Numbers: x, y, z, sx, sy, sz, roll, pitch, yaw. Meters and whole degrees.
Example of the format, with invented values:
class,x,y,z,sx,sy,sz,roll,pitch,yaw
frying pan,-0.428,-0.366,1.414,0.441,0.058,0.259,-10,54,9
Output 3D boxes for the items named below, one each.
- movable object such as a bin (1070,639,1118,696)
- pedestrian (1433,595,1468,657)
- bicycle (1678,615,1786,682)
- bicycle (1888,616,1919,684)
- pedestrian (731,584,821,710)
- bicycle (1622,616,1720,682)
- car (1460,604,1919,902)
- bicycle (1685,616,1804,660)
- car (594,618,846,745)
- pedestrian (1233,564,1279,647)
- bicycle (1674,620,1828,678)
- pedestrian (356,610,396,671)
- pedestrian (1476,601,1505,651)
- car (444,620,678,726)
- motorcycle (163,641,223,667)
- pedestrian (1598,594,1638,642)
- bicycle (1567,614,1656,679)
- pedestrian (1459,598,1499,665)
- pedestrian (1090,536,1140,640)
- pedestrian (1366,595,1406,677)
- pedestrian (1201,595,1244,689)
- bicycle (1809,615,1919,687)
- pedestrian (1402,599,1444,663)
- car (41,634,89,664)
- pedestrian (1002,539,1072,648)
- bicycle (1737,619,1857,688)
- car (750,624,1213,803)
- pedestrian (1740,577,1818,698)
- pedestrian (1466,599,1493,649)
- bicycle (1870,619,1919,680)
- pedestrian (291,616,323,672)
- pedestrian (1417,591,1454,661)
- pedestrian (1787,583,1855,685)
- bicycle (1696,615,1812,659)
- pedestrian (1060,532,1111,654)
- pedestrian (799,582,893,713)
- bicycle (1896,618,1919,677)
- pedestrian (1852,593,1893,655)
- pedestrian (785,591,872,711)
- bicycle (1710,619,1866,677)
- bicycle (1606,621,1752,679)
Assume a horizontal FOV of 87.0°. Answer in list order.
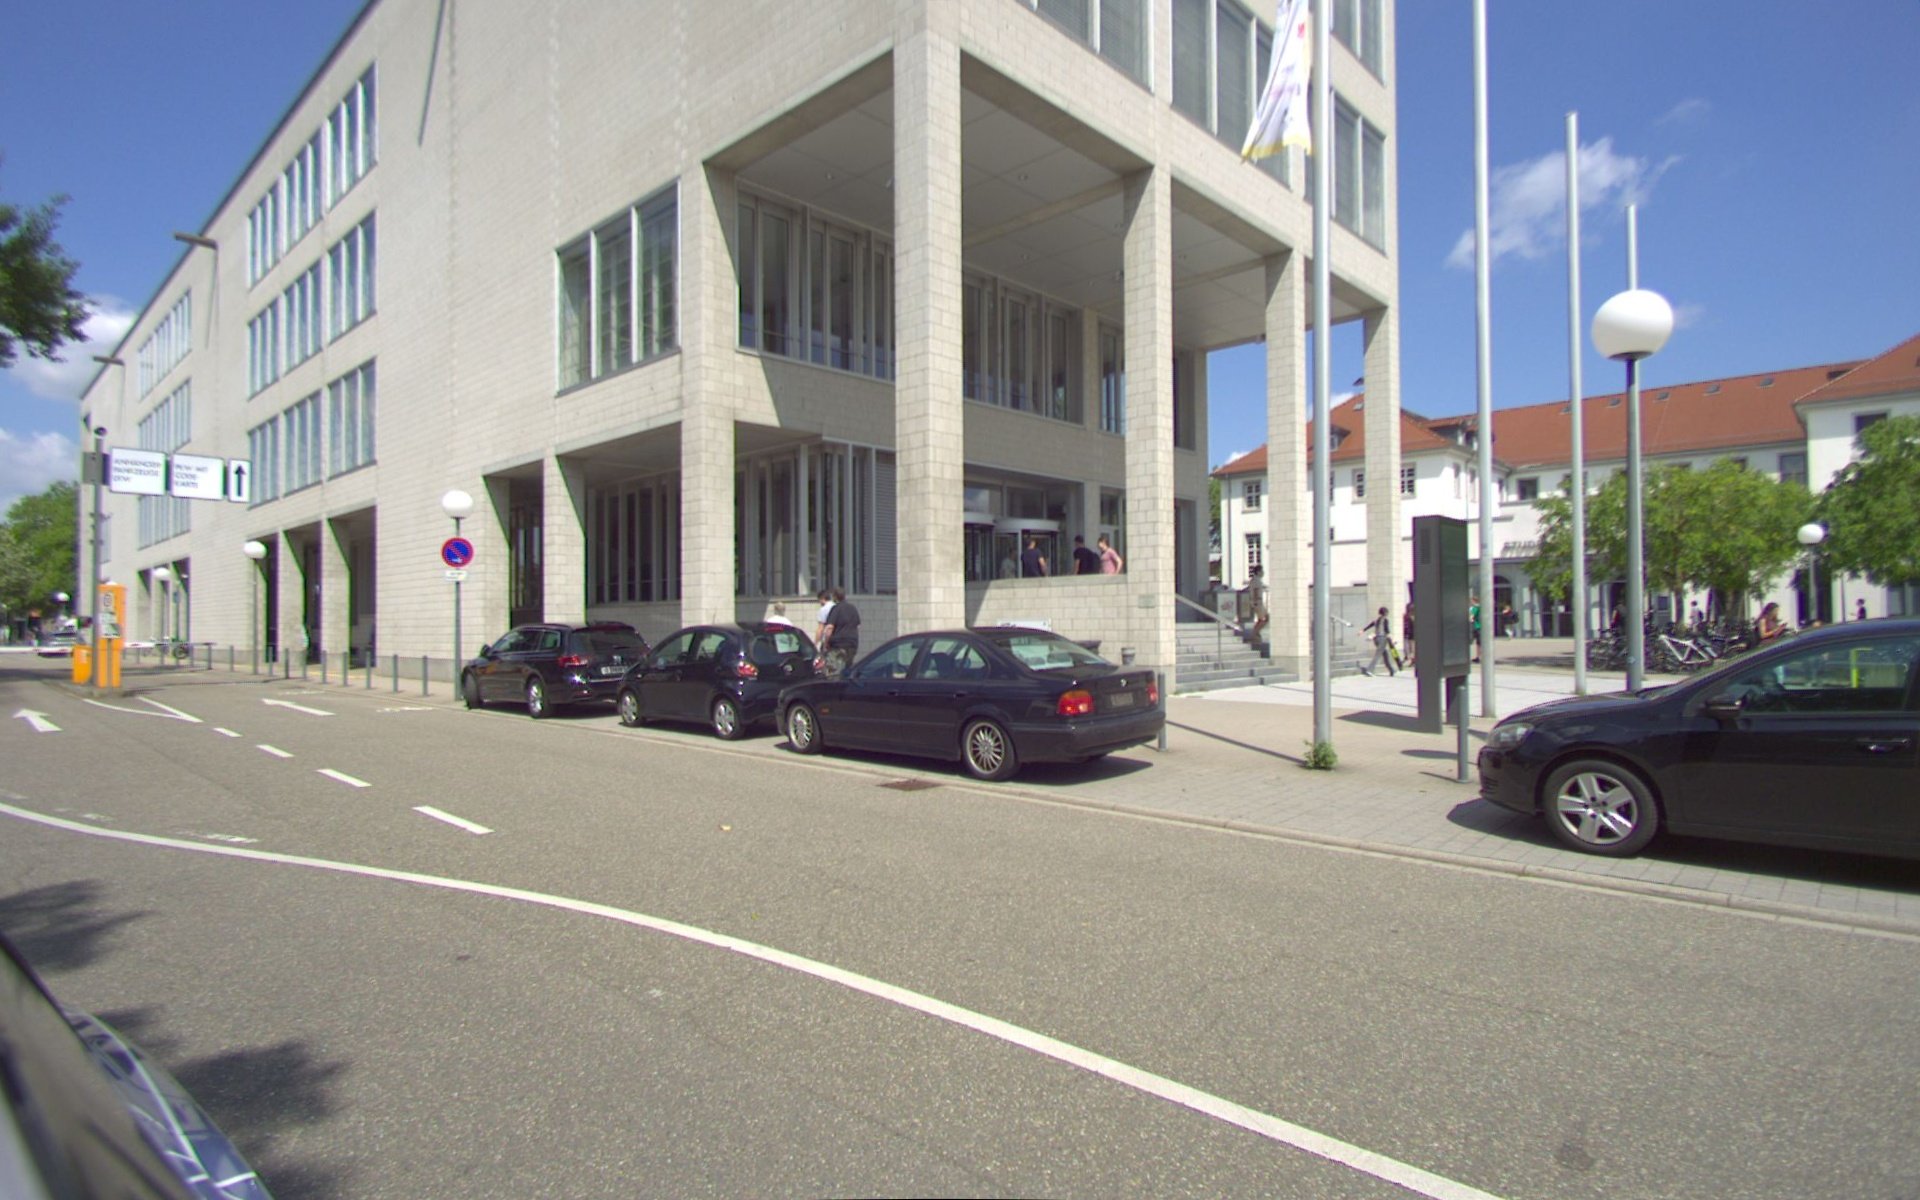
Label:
class,x,y,z,sx,sy,sz,roll,pitch,yaw
movable object such as a bin,2.304,1.148,17.408,0.595,0.937,0.569,-2,-1,44
pedestrian,14.847,0.787,30.645,0.753,1.851,0.698,-1,-1,10
bicycle,17.616,1.073,23.196,1.140,1.422,2.930,-1,-1,21
bicycle,20.641,1.047,20.894,1.140,1.422,2.930,-1,-1,21
pedestrian,-3.094,0.782,17.035,1.164,2.029,0.974,-2,-2,39
bicycle,16.529,1.098,23.652,1.140,1.422,2.930,-1,-1,21
car,5.439,0.789,5.860,1.728,1.478,4.198,-2,0,-45
bicycle,26.370,1.262,34.073,1.129,1.422,2.957,0,-1,-38
car,-3.419,1.044,14.080,3.707,1.478,1.621,-2,0,43
pedestrian,6.515,0.132,22.239,0.758,1.770,0.729,-2,-2,34
bicycle,20.624,1.244,26.486,1.128,1.422,2.961,0,-1,-25
pedestrian,-19.601,1.349,33.960,1.066,2.029,0.839,-2,-3,41
pedestrian,23.865,1.162,45.553,0.957,2.217,0.964,-1,-2,21
car,-6.841,1.144,17.068,4.719,1.478,1.839,-2,0,43
motorcycle,-36.082,2.541,47.635,0.773,1.146,2.148,-2,-2,33
pedestrian,28.141,0.775,43.287,1.041,2.029,0.924,0,-2,-22
bicycle,15.441,1.065,24.089,1.140,1.422,2.930,-1,-1,21
pedestrian,13.999,0.850,27.297,0.738,1.787,0.749,-2,-2,42
pedestrian,3.291,-0.237,21.476,0.704,2.161,0.795,-2,-1,38
pedestrian,9.439,0.800,22.447,0.754,1.770,0.733,-1,-2,20
pedestrian,5.031,0.797,19.368,0.732,1.770,0.755,-1,-2,17
bicycle,19.669,1.048,21.820,1.140,1.422,2.930,-1,-1,21
pedestrian,12.024,0.792,26.292,0.723,1.626,0.736,-1,-1,3
car,-51.408,2.784,58.081,4.407,1.546,1.707,-1,0,44
pedestrian,1.486,-0.105,19.480,0.910,2.029,0.967,-2,-1,43
bicycle,18.733,1.163,22.762,1.140,1.422,2.930,-1,-1,21
car,-0.028,1.008,10.731,1.838,1.388,5.019,-2,0,-45
pedestrian,14.330,0.640,17.707,0.987,2.029,1.045,-2,-2,40
pedestrian,21.421,0.996,41.771,0.753,2.029,0.734,-1,-1,11
bicycle,23.225,1.156,23.446,1.128,1.422,2.961,0,-1,-25
pedestrian,-24.486,1.630,37.924,0.846,2.029,0.882,0,-1,-44
pedestrian,14.056,0.757,29.919,0.749,2.029,0.737,0,-1,-41
pedestrian,16.962,0.664,19.954,0.944,1.955,0.975,-2,-2,40
bicycle,27.398,1.259,34.972,1.129,1.422,2.957,0,-1,-38
pedestrian,2.590,-0.133,20.835,0.737,2.440,0.750,-2,-2,37
pedestrian,-1.850,0.752,16.410,1.164,2.029,0.974,-2,-2,39
bicycle,24.301,1.146,23.920,1.128,1.422,2.961,0,-1,-25
pedestrian,33.533,0.894,37.191,1.041,2.217,1.010,-2,-3,42
pedestrian,-2.314,0.879,17.824,1.164,2.029,0.974,-2,-2,39
bicycle,21.877,1.228,26.839,1.128,1.422,2.961,0,-1,-25
bicycle,18.972,1.275,26.819,1.128,1.422,2.961,0,-1,-25
